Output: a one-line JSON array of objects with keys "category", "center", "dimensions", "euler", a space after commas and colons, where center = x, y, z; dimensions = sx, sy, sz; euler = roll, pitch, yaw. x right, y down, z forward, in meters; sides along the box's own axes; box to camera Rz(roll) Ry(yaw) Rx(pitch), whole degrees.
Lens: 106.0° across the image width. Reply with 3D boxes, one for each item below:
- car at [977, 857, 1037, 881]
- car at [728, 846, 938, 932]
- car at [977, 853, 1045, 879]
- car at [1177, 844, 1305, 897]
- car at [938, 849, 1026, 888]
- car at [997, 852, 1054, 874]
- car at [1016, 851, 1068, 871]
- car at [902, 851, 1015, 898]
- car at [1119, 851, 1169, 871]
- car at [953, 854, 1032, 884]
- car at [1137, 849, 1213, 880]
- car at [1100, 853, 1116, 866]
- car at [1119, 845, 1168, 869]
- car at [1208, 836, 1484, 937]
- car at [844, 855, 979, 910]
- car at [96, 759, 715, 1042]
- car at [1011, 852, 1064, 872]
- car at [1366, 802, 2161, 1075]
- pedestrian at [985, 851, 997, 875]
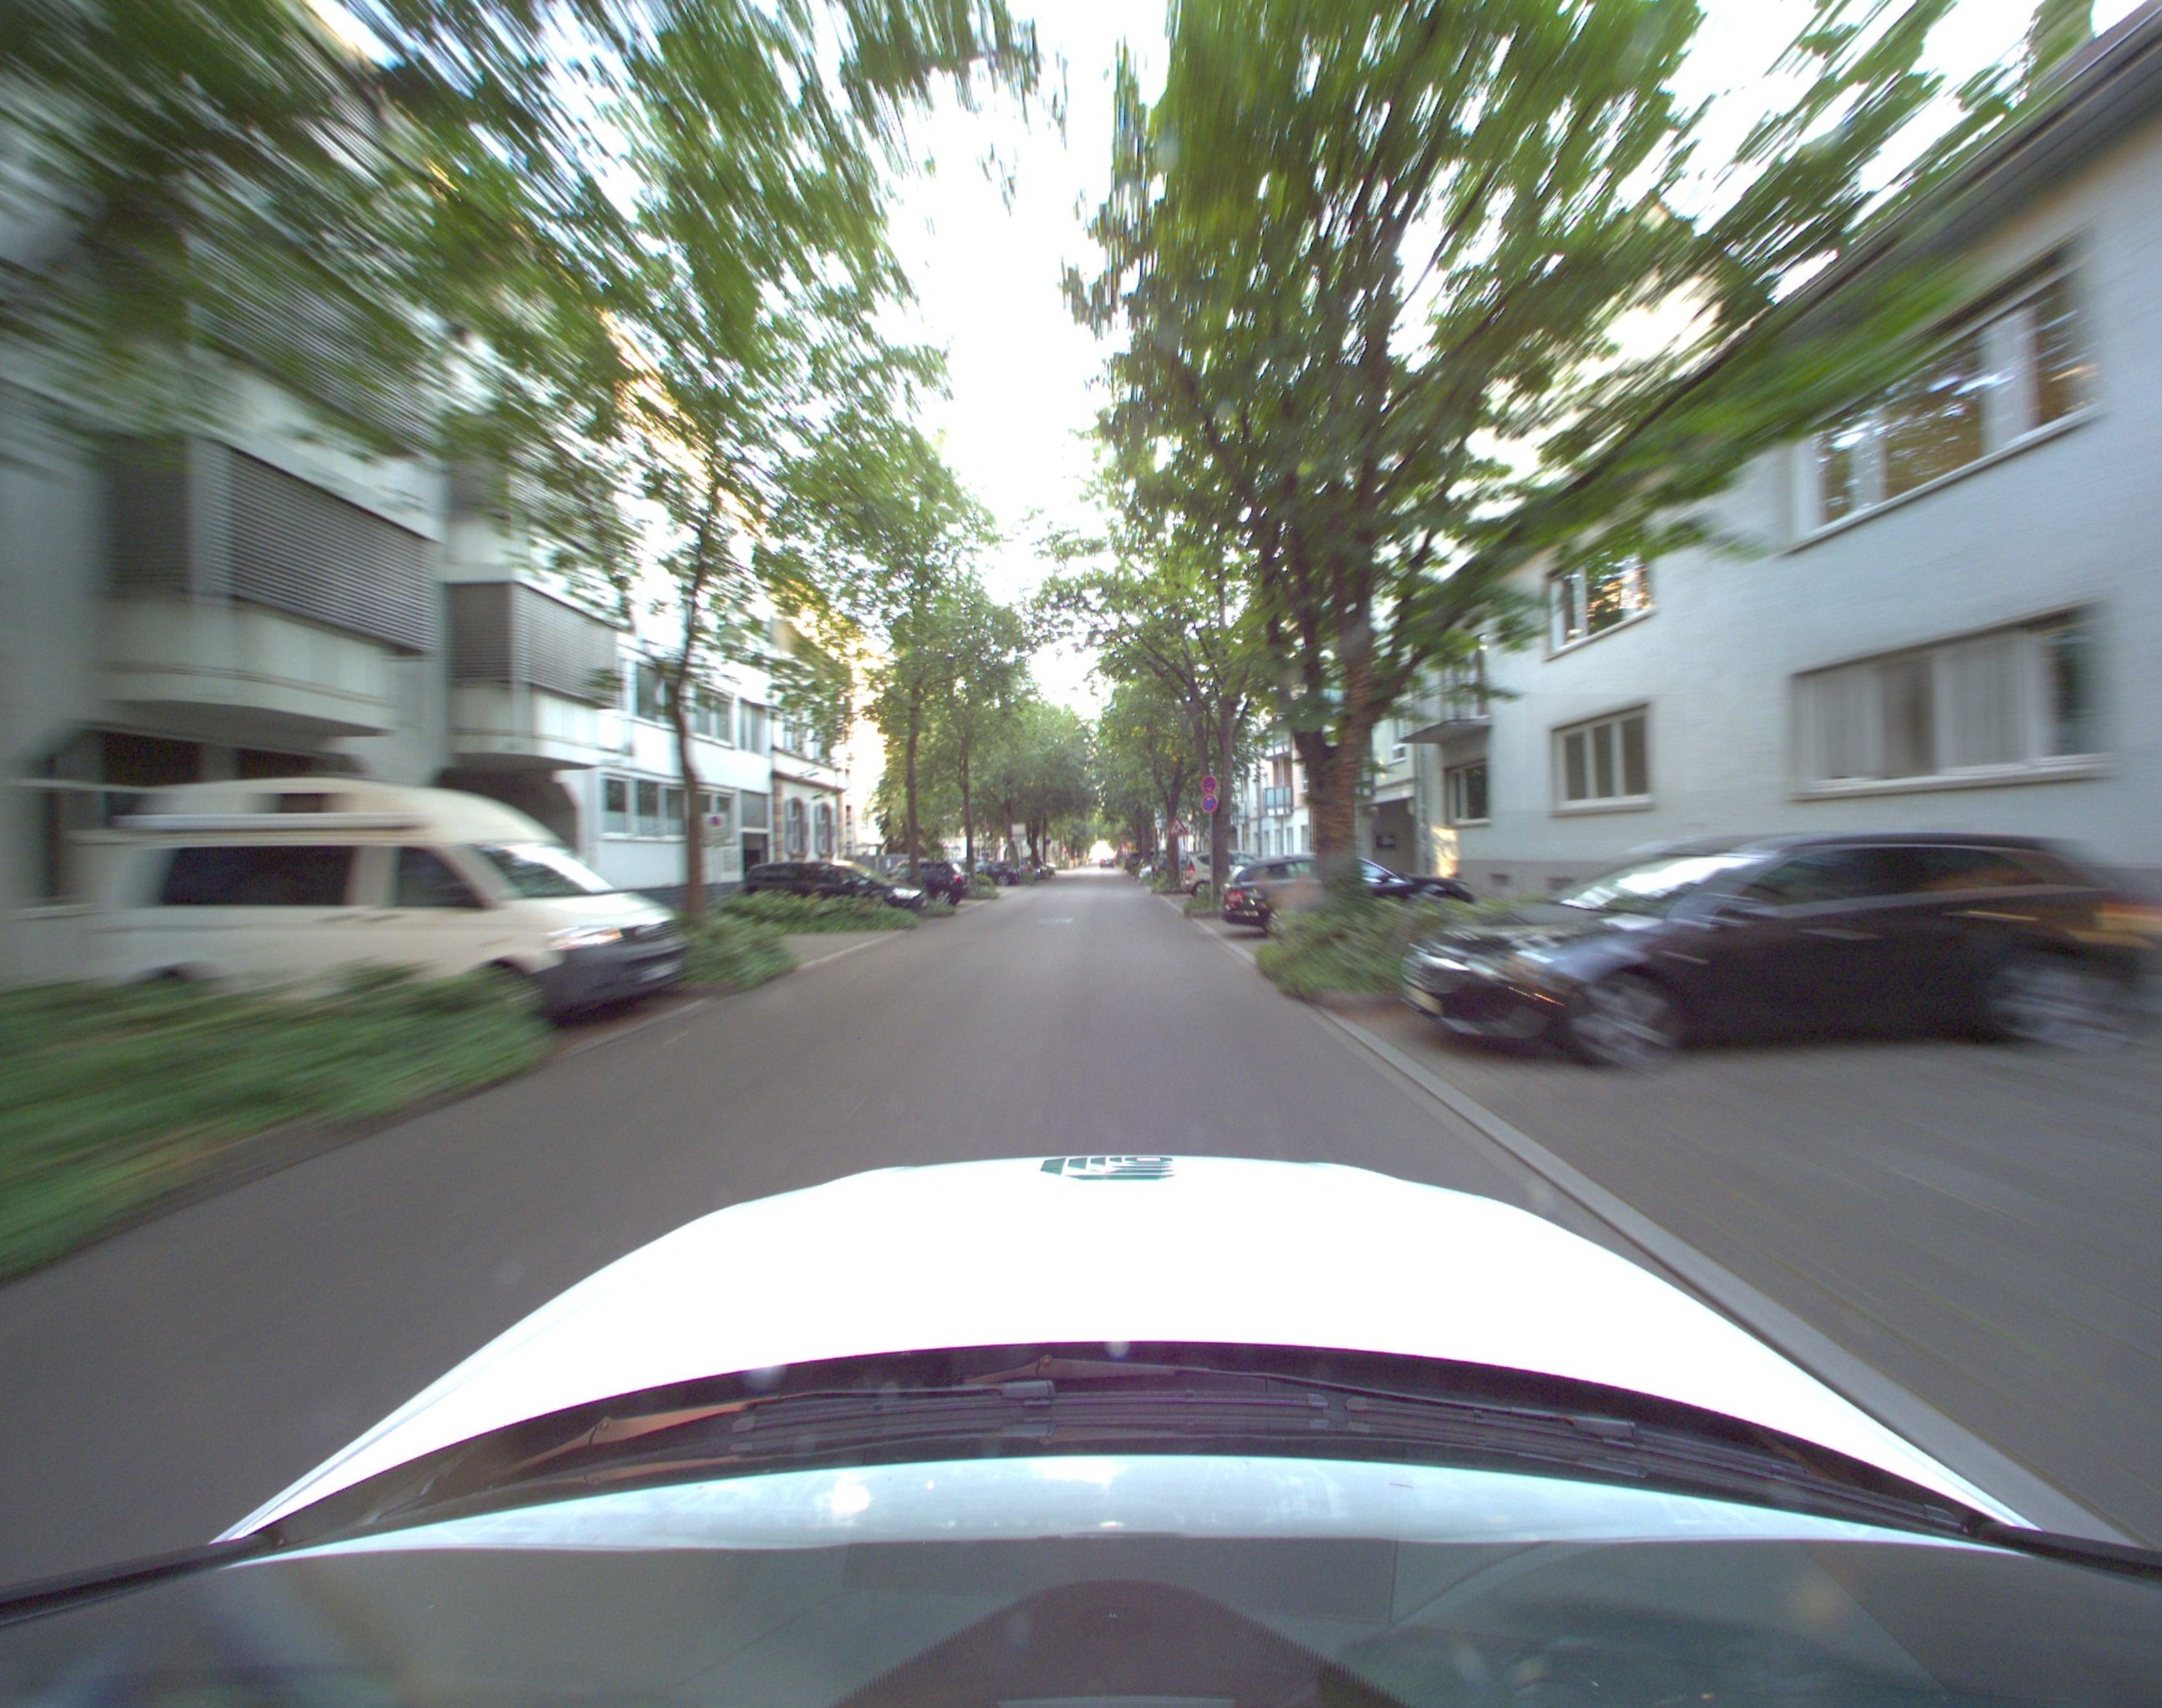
[{"category": "car", "center": [-5.221, 1.047, 57.994], "dimensions": [3.972, 1.510, 1.801], "euler": [-3, 0, 1]}, {"category": "car", "center": [-6.219, 0.858, 20.824], "dimensions": [4.665, 1.854, 1.963], "euler": [-3, 0, 1]}, {"category": "car", "center": [-5.181, 0.875, 60.473], "dimensions": [4.745, 1.630, 1.963], "euler": [-3, 0, 1]}, {"category": "car", "center": [5.461, 0.554, 28.190], "dimensions": [4.036, 1.597, 1.825], "euler": [-3, 0, 1]}, {"category": "car", "center": [-5.763, 0.814, 47.700], "dimensions": [4.745, 1.984, 1.963], "euler": [-3, 0, 1]}, {"category": "car", "center": [-4.832, 0.788, 71.104], "dimensions": [4.745, 1.630, 1.963], "euler": [-3, 0, 1]}, {"category": "car", "center": [-3.750, 0.685, 79.011], "dimensions": [4.745, 1.630, 1.963], "euler": [-3, 0, 1]}, {"category": "car", "center": [-5.381, 0.885, 36.235], "dimensions": [4.578, 1.807, 1.963], "euler": [-3, 0, 1]}, {"category": "car", "center": [5.508, 0.608, 71.524], "dimensions": [4.253, 1.565, 1.963], "euler": [-3, 0, 1]}, {"category": "car", "center": [-5.599, 0.968, 52.020], "dimensions": [4.745, 1.630, 1.963], "euler": [-3, 0, 1]}, {"category": "car", "center": [5.541, 0.626, 48.217], "dimensions": [4.253, 1.565, 1.963], "euler": [-3, 0, 1]}, {"category": "car", "center": [3.664, 0.707, 110.609], "dimensions": [1.949, 1.565, 4.284], "euler": [-3, 0, 2]}, {"category": "car", "center": [5.641, 0.265, 74.040], "dimensions": [4.253, 1.962, 1.963], "euler": [-3, 0, 1]}, {"category": "car", "center": [4.710, 0.573, 15.085], "dimensions": [4.487, 1.521, 1.998], "euler": [-3, 0, 4]}, {"category": "car", "center": [-5.868, 0.966, 28.546], "dimensions": [4.188, 1.635, 1.963], "euler": [-3, 0, 1]}, {"category": "car", "center": [-6.572, 0.426, 8.360], "dimensions": [4.665, 2.478, 2.001], "euler": [-1, 0, 1]}, {"category": "car", "center": [-4.017, 0.713, 76.136], "dimensions": [4.745, 1.630, 1.963], "euler": [-3, 0, 1]}, {"category": "car", "center": [4.851, 0.537, 6.167], "dimensions": [4.665, 1.521, 1.963], "euler": [-3, 0, 1]}, {"category": "pedestrian", "center": [-7.834, 0.796, 70.569], "dimensions": [0.853, 2.013, 0.876], "euler": [-2, 0, 2]}]
